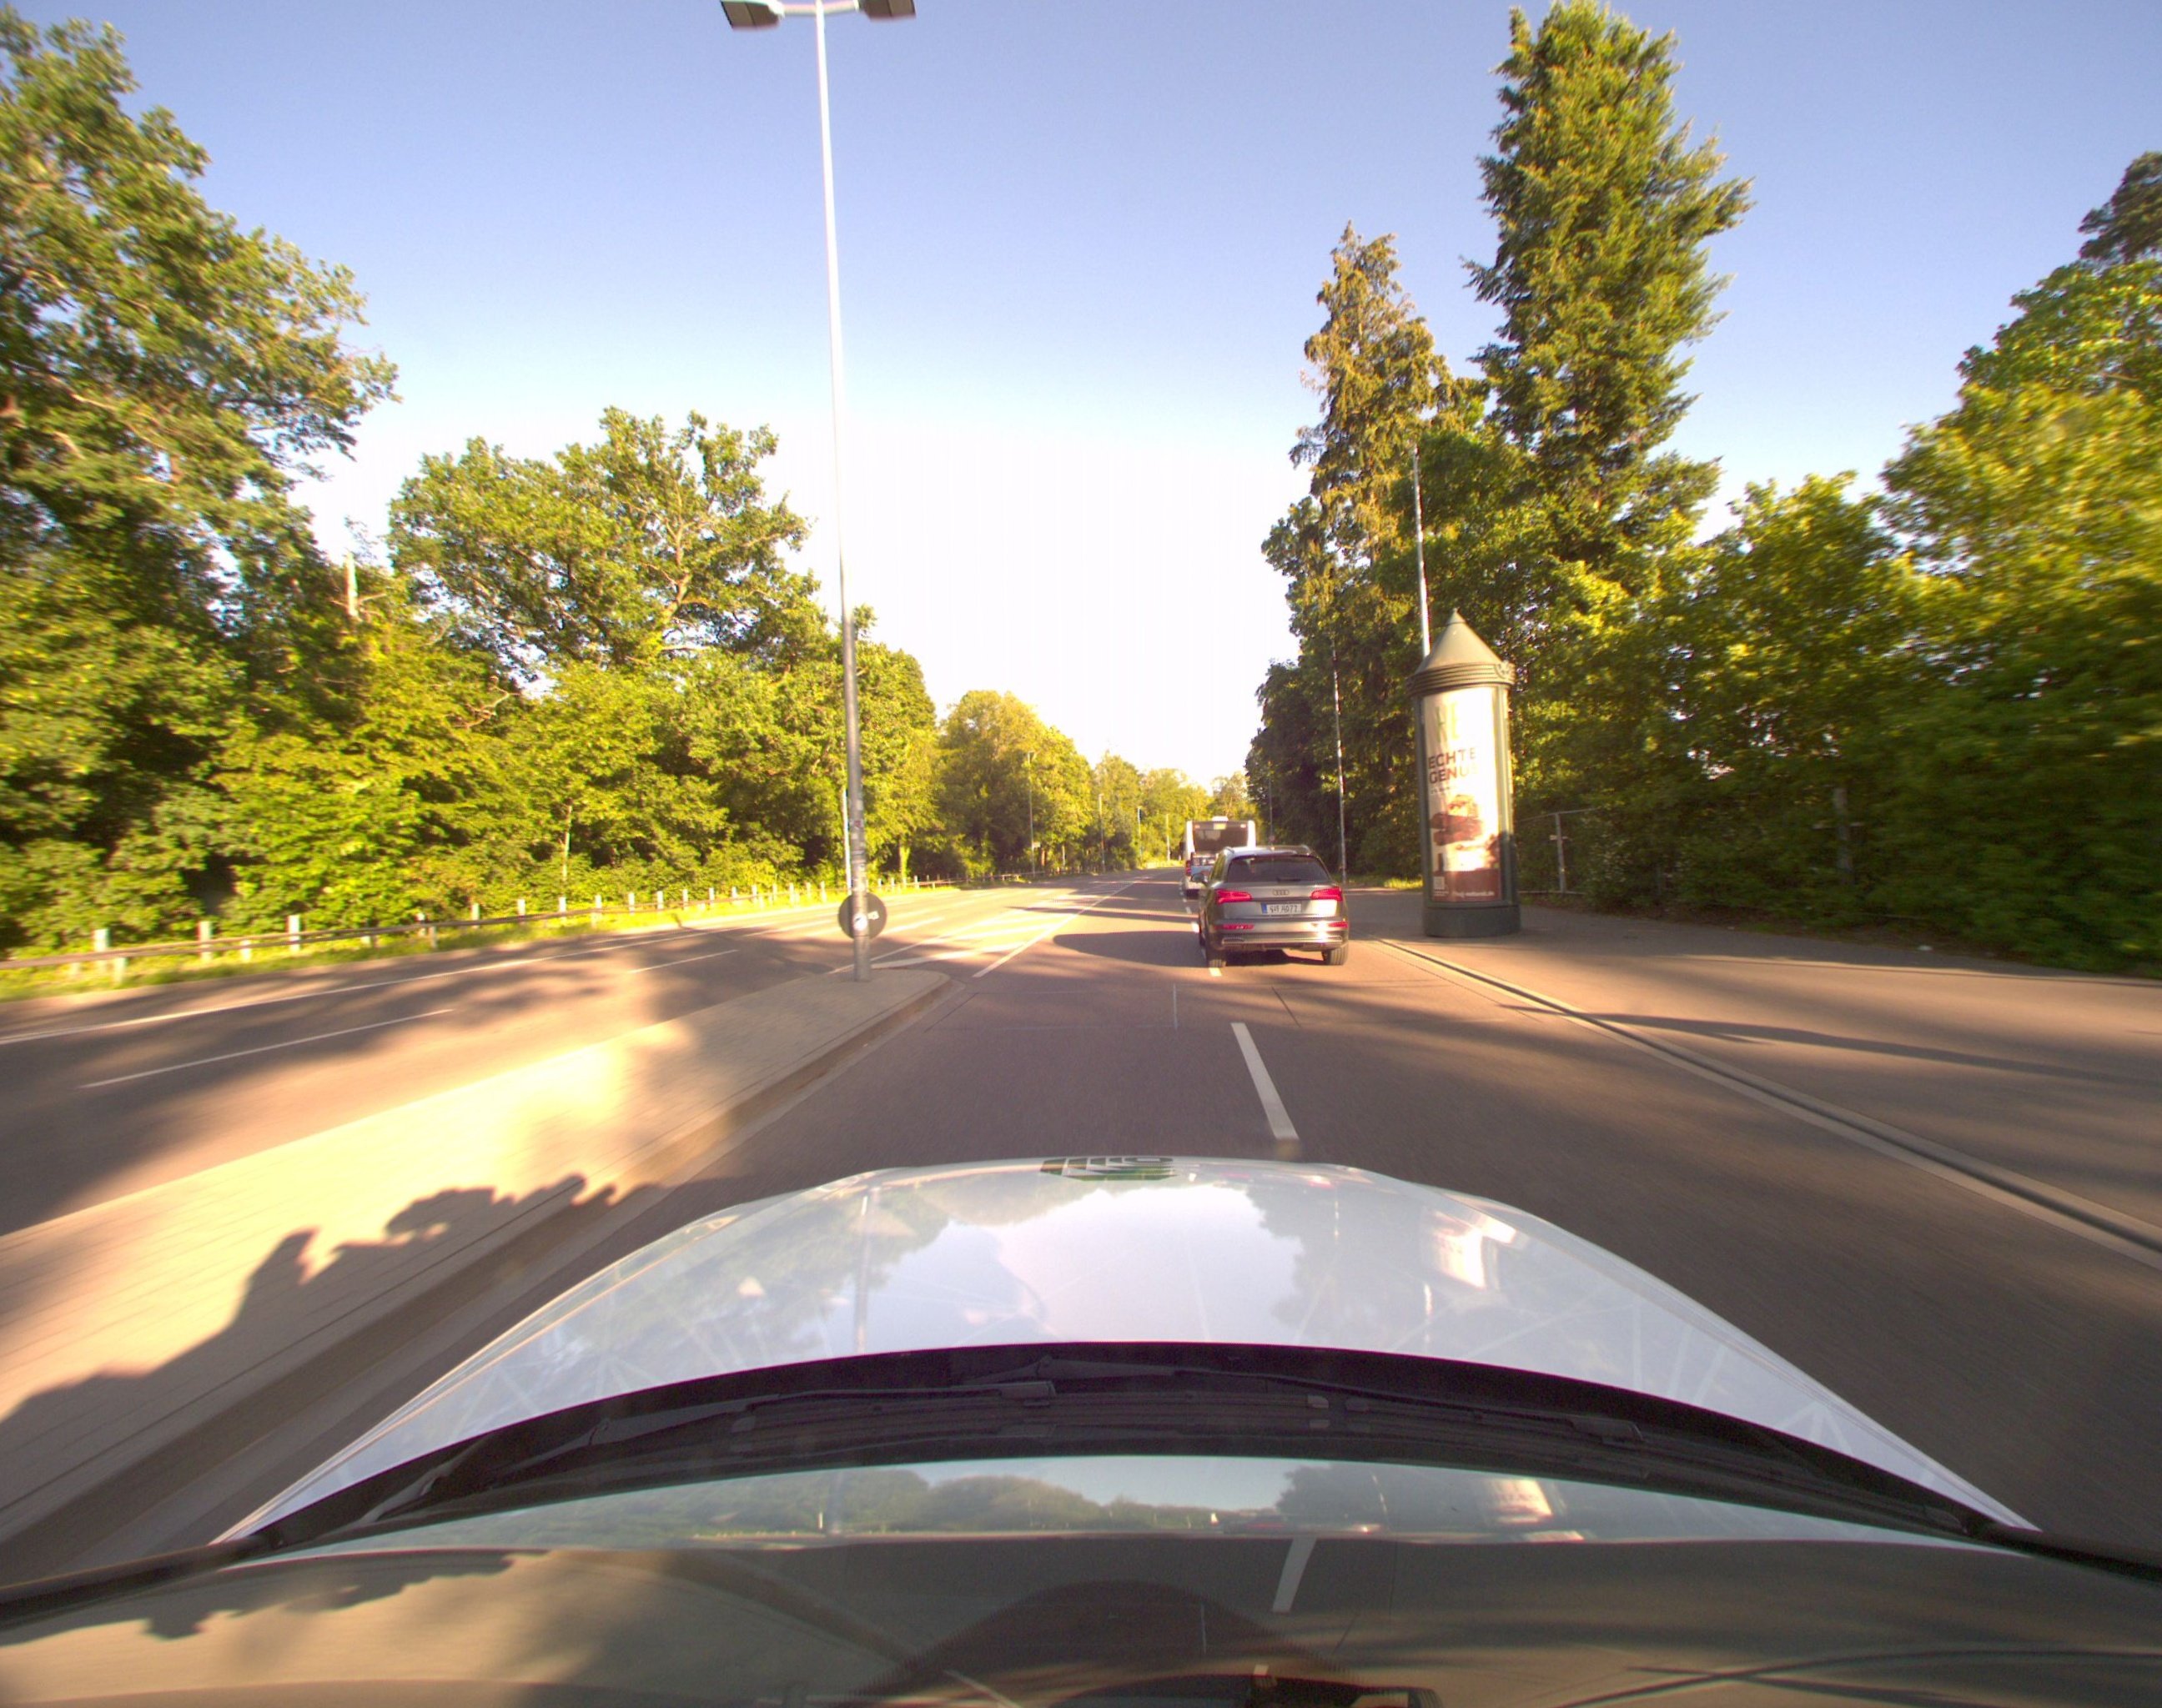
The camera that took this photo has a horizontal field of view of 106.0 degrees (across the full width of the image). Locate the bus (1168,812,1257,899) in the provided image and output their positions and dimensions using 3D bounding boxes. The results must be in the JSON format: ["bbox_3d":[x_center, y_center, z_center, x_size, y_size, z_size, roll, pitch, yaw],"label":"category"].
[{"bbox_3d":[5.358,0.100,35.208,2.678,3.042,12.053,-1,-1,4],"label":"bus"}]

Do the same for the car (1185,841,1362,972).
[{"bbox_3d":[2.686,0.668,12.418,1.884,1.605,4.549,-1,0,4],"label":"car"}]
